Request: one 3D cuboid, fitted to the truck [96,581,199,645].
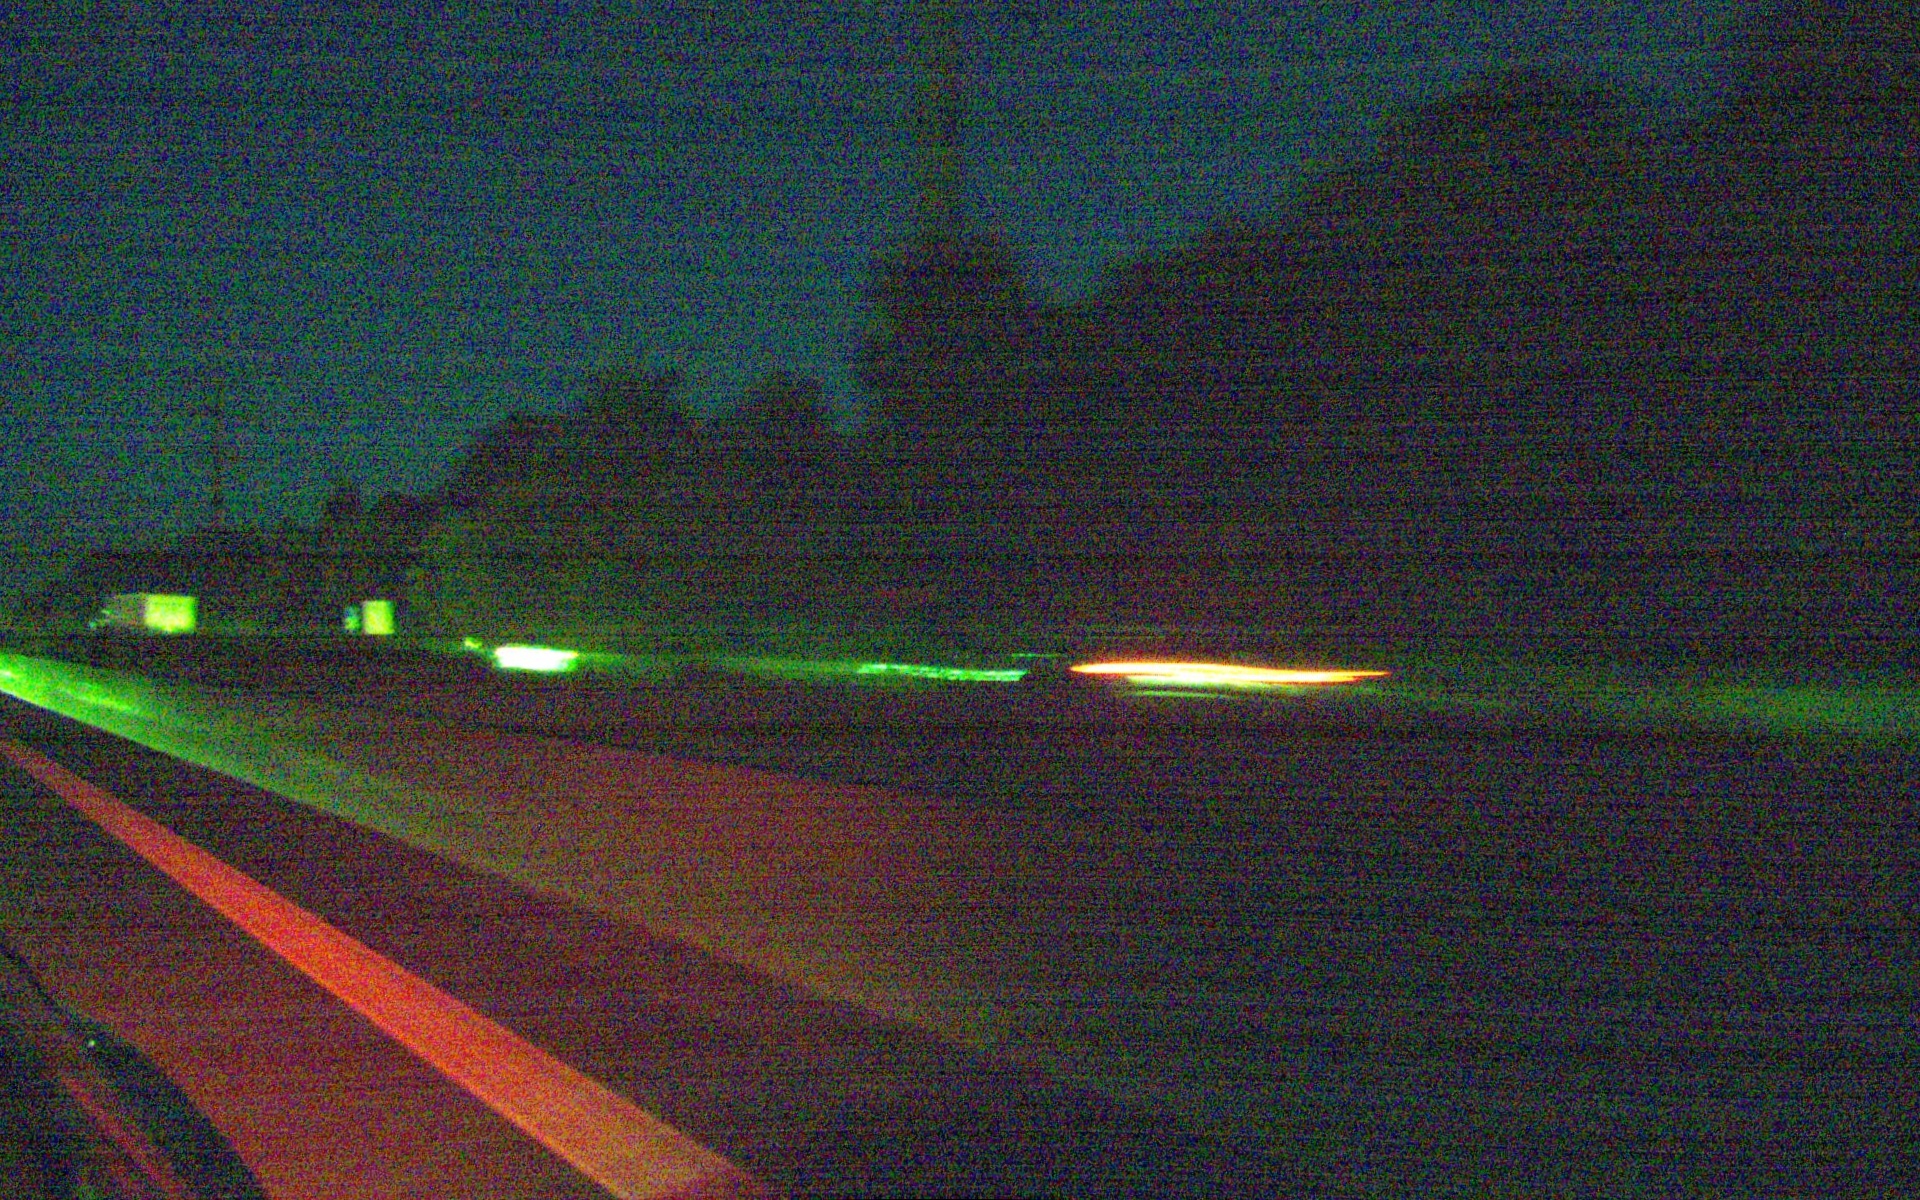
[{"bbox_3d":[-59.128,1.151,73.358,16.975,4.235,3.080,-2,-4,42],"label":"truck"}]

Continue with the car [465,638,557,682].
[{"bbox_3d":[-15.067,1.974,33.889,3.627,1.342,1.410,-2,-1,41],"label":"car"}]

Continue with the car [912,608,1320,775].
[{"bbox_3d":[1.845,1.005,13.279,5.167,1.696,1.774,1,1,41],"label":"car"}]
